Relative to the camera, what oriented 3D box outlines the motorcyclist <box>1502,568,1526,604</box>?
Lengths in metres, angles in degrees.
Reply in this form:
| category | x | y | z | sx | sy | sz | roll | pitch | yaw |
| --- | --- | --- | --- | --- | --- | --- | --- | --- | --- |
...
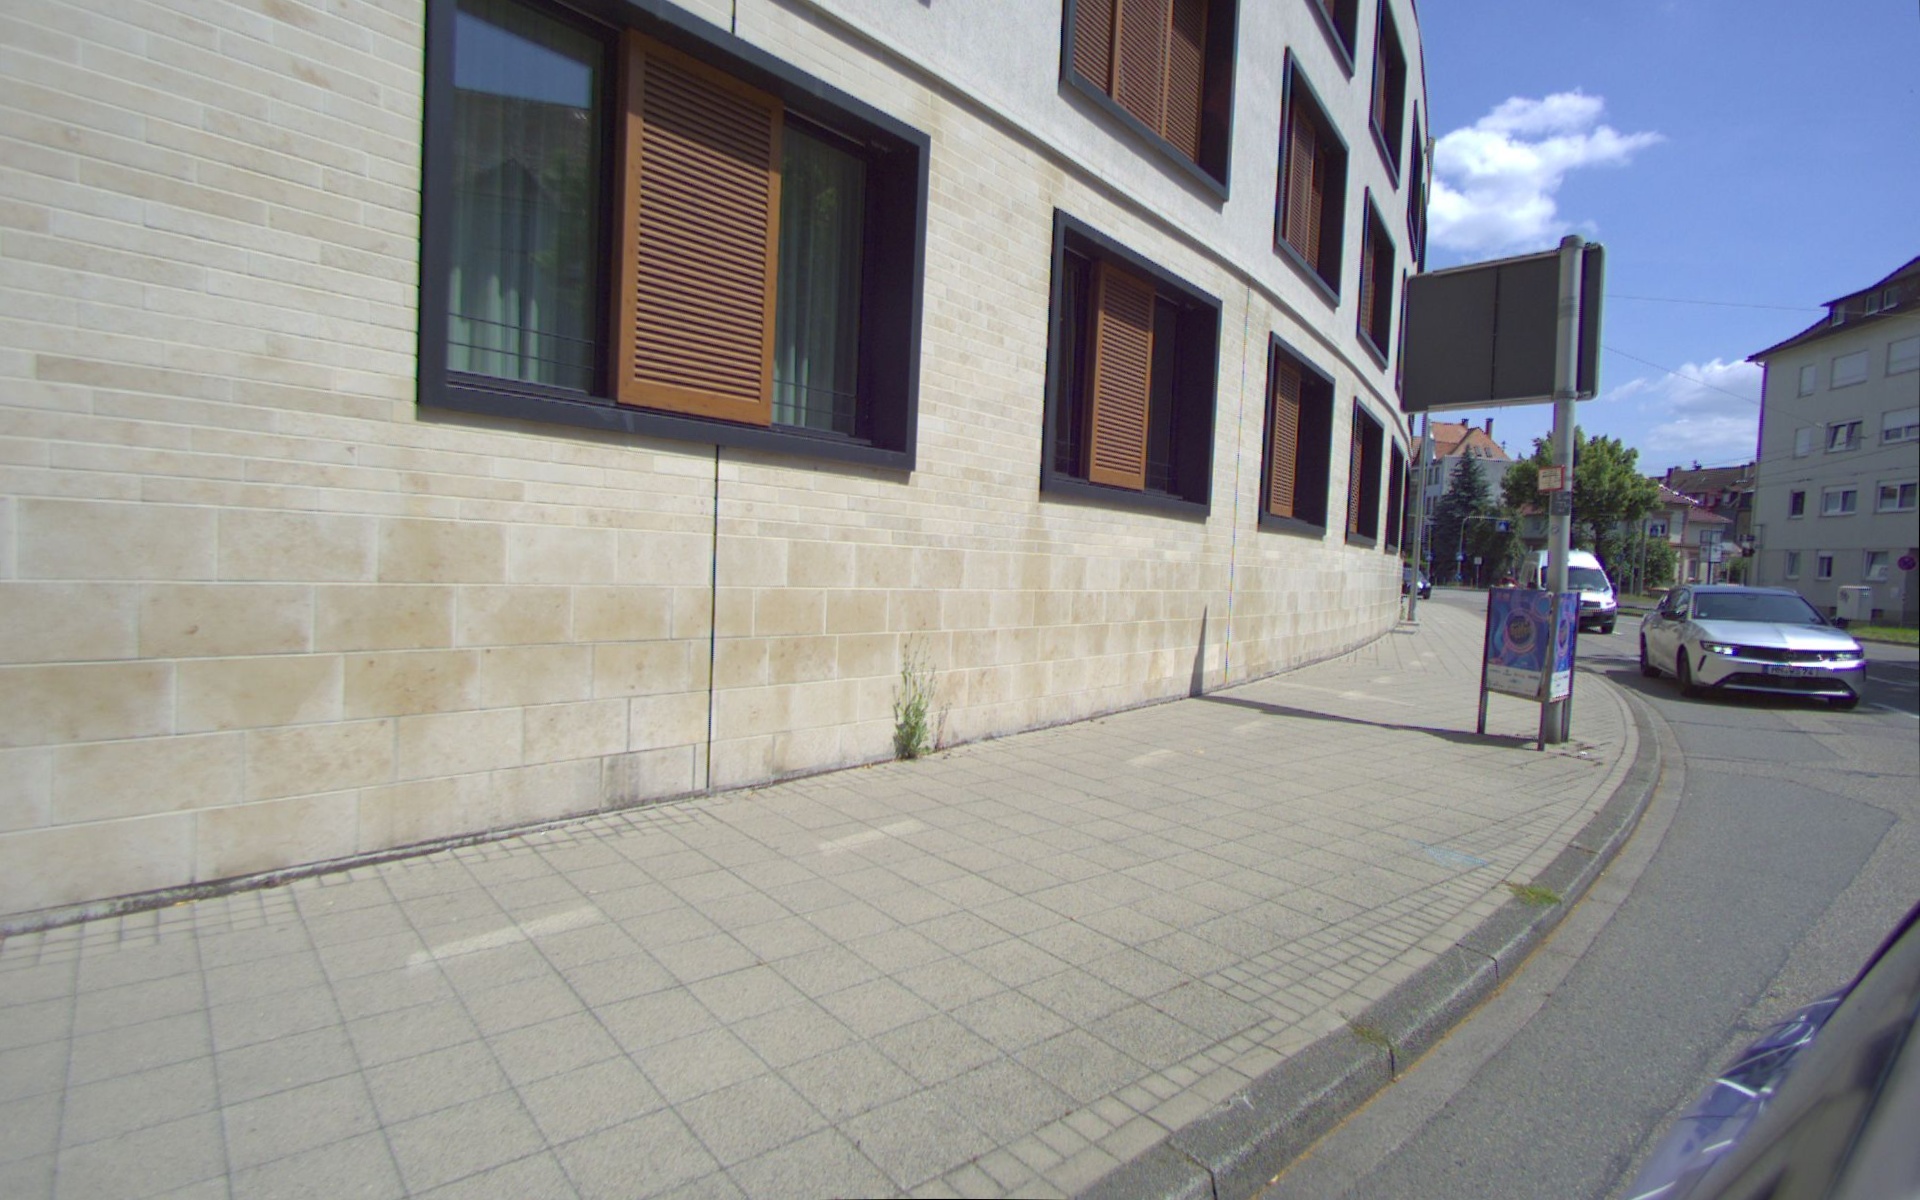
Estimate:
| category | x | y | z | sx | sy | sz | roll | pitch | yaw |
| --- | --- | --- | --- | --- | --- | --- | --- | --- | --- |
| motorcyclist | 21.247 | -0.543 | 38.814 | 0.729 | 1.353 | 1.158 | 2 | 2 | 30 |

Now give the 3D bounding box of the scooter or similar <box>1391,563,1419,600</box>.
| category | x | y | z | sx | sy | sz | roll | pitch | yaw |
| --- | --- | --- | --- | --- | --- | --- | --- | --- | --- |
| scooter or similar | 16.385 | -0.699 | 37.293 | 0.575 | 1.275 | 1.362 | 5 | 3 | 14 |

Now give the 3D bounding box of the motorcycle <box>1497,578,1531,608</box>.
| category | x | y | z | sx | sy | sz | roll | pitch | yaw |
| --- | --- | --- | --- | --- | --- | --- | --- | --- | --- |
| motorcycle | 21.432 | -0.285 | 39.123 | 1.049 | 1.093 | 2.589 | 2 | 2 | 30 |

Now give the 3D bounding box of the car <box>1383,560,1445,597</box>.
| category | x | y | z | sx | sy | sz | roll | pitch | yaw |
| --- | --- | --- | --- | --- | --- | --- | --- | --- | --- |
| car | 23.240 | -1.151 | 51.961 | 1.779 | 1.526 | 4.534 | 7 | 4 | 11 |

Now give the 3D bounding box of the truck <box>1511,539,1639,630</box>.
| category | x | y | z | sx | sy | sz | roll | pitch | yaw |
| --- | --- | --- | --- | --- | --- | --- | --- | --- | --- |
| truck | 17.254 | -0.523 | 28.704 | 1.997 | 2.276 | 5.374 | 2 | 3 | 20 |

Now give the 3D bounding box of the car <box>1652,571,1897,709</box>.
| category | x | y | z | sx | sy | sz | roll | pitch | yaw |
| --- | --- | --- | --- | --- | --- | --- | --- | --- | --- |
| car | 10.714 | 0.386 | 13.650 | 1.786 | 1.484 | 4.131 | 2 | 3 | 28 |
